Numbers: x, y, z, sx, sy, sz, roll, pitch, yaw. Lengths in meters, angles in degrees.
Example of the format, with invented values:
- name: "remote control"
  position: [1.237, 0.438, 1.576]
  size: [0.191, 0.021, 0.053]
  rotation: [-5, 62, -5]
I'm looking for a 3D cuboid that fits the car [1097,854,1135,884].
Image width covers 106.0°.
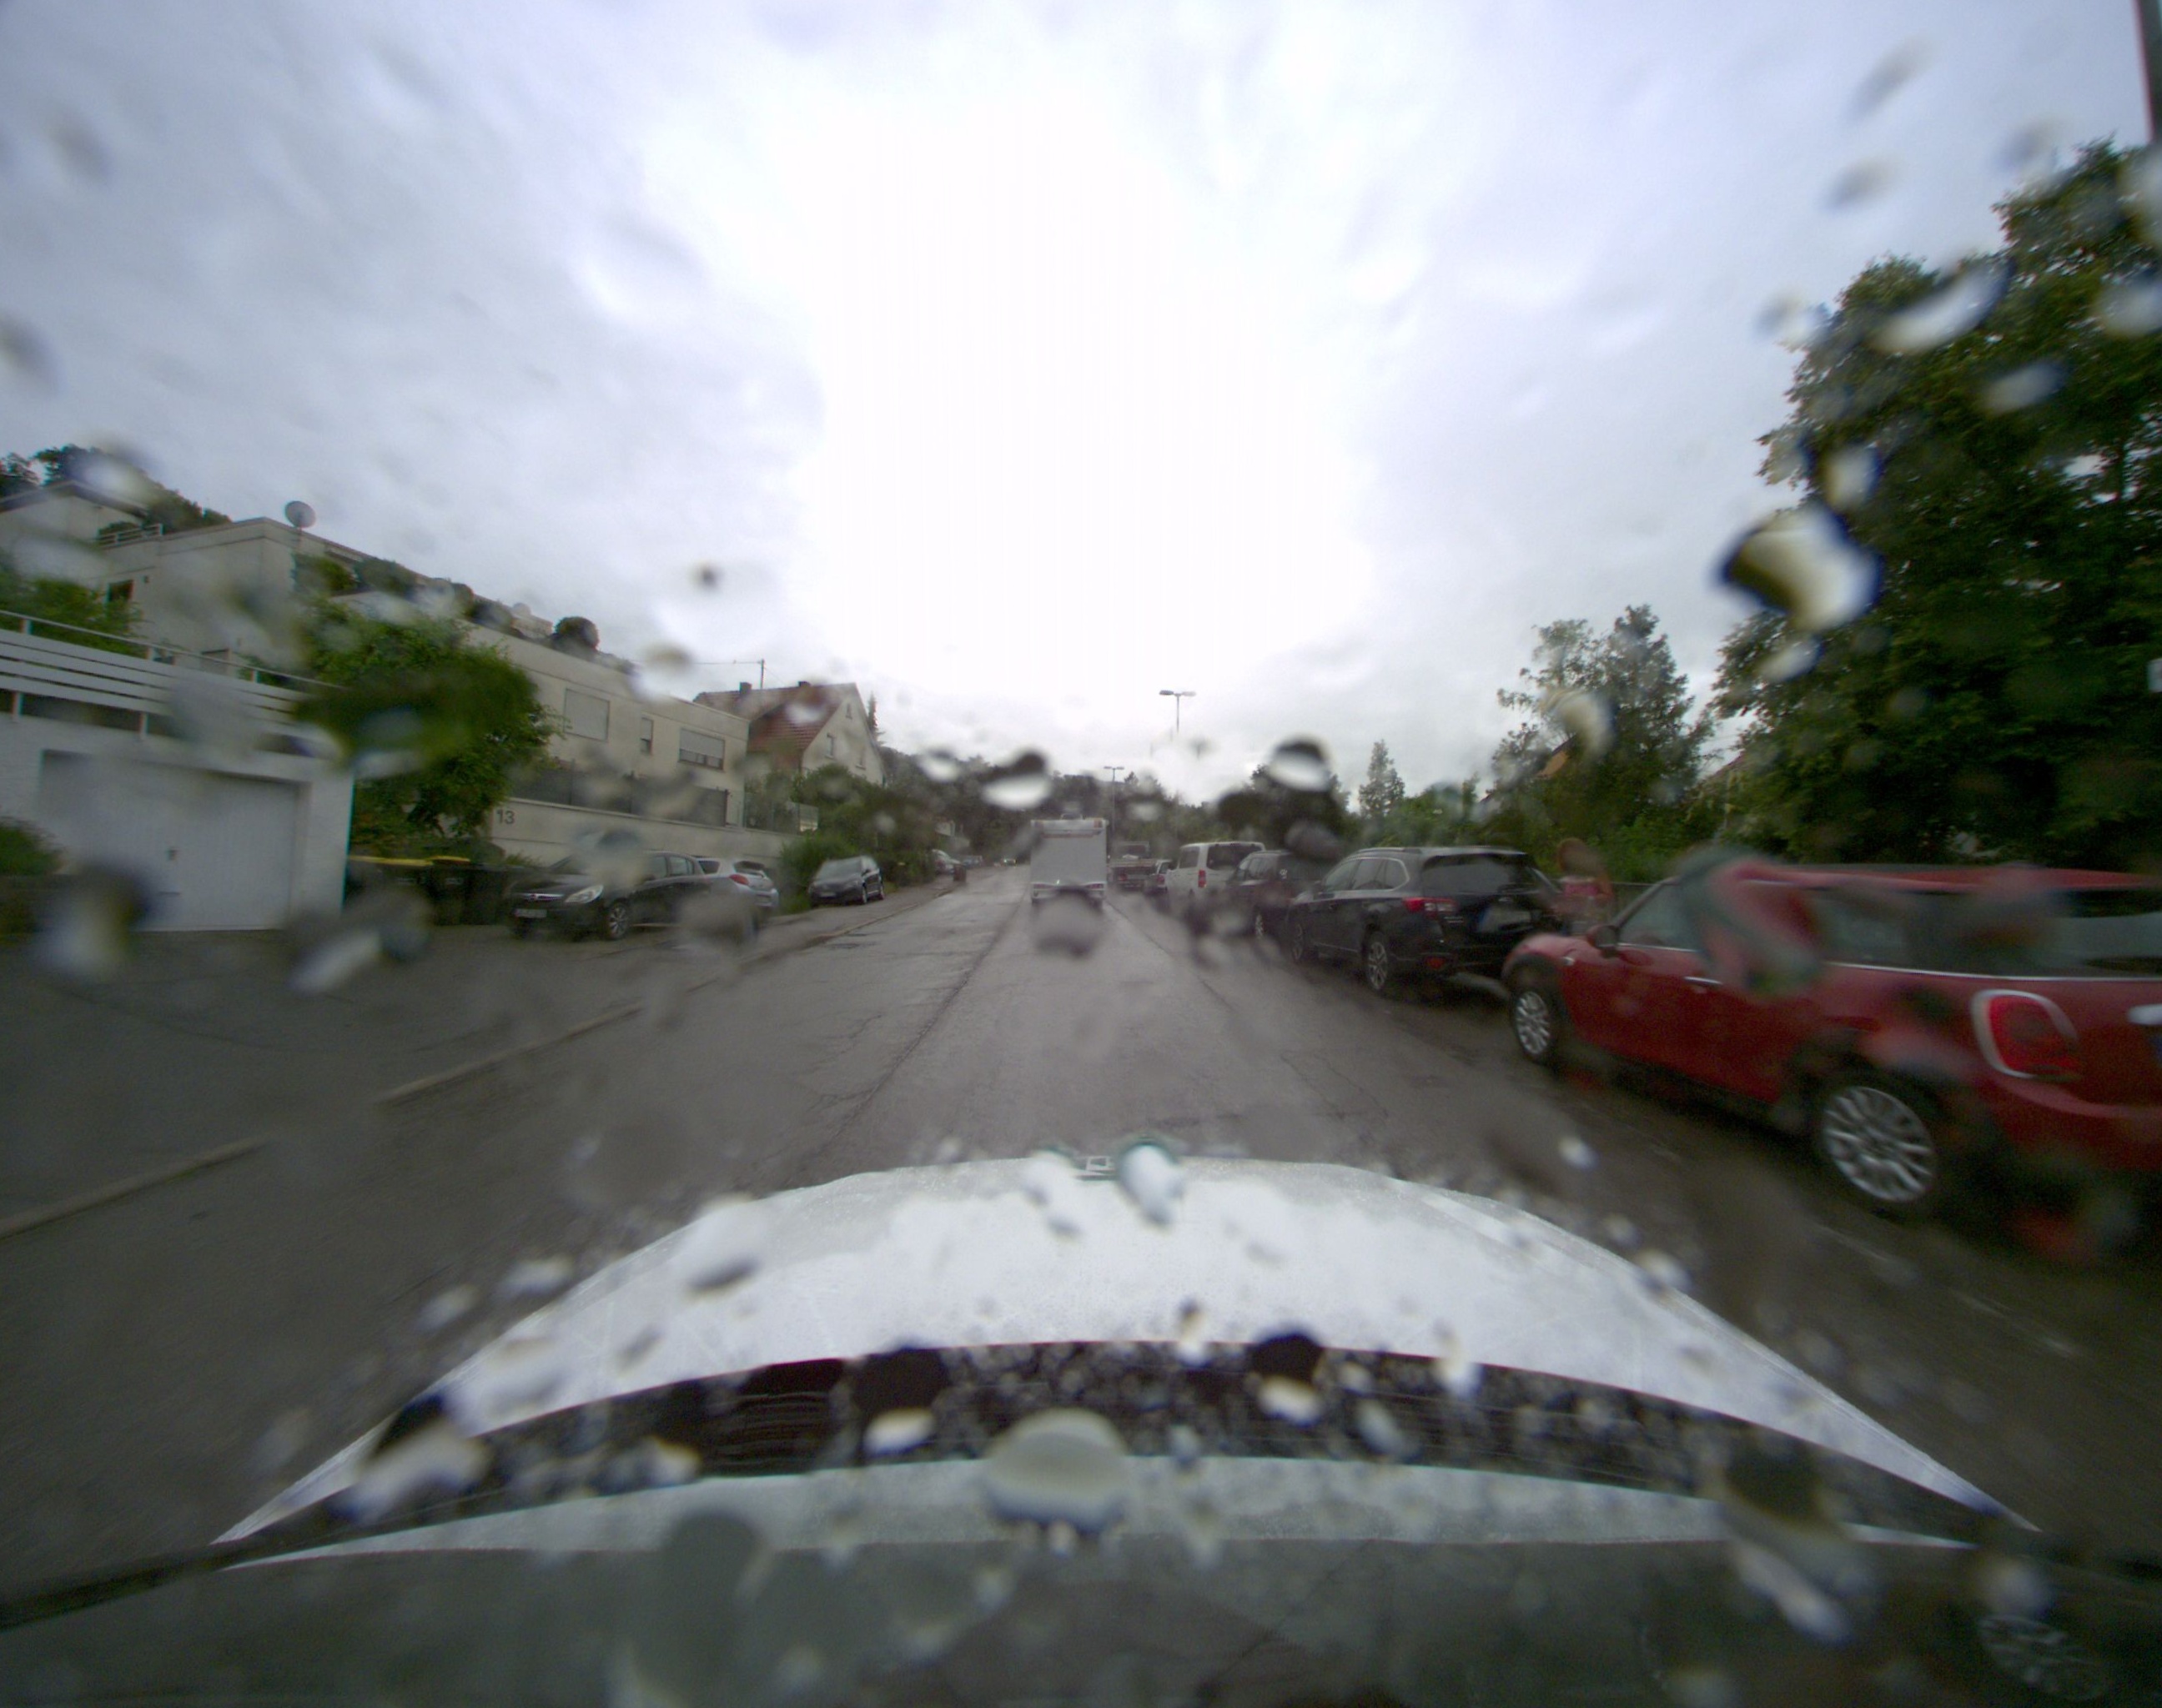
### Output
- name: "car"
  position: [1.963, 0.836, 46.890]
  size: [1.756, 1.604, 4.660]
  rotation: [-1, -1, -3]

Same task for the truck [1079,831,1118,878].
- name: "truck"
  position: [1.232, 0.073, 62.257]
  size: [2.430, 3.335, 7.956]
  rotation: [-1, -1, -3]

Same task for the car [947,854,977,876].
- name: "car"
  position: [-9.964, 0.907, 68.431]
  size: [1.683, 1.588, 4.196]
  rotation: [6, 0, 0]

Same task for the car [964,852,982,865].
- name: "car"
  position: [-12.285, 0.536, 92.784]
  size: [1.629, 1.396, 4.234]
  rotation: [4, -1, -3]

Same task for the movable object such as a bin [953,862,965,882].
- name: "movable object such as a bin"
  position: [-6.611, 0.977, 44.267]
  size: [0.602, 1.064, 0.637]
  rotation: [1, -1, -7]

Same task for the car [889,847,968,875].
- name: "car"
  position: [-10.853, 0.517, 58.105]
  size: [5.049, 1.944, 2.149]
  rotation: [-1, -1, 13]

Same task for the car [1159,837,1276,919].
- name: "car"
  position: [3.411, 0.588, 21.363]
  size: [1.846, 1.882, 4.901]
  rotation: [-1, -1, -5]

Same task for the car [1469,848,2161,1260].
- name: "car"
  position: [4.076, 0.708, 4.779]
  size: [1.730, 1.414, 3.850]
  rotation: [-1, -1, -1]

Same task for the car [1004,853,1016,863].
- name: "car"
  position: [-11.444, 0.588, 132.037]
  size: [1.903, 1.607, 4.421]
  rotation: [1, 0, -5]

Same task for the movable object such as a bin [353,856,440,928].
- name: "movable object such as a bin"
  position: [-10.456, 0.571, 12.452]
  size: [0.745, 1.057, 0.703]
  rotation: [-1, -1, 13]

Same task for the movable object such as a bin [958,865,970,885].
- name: "movable object such as a bin"
  position: [-6.423, 1.160, 44.860]
  size: [0.602, 1.064, 0.696]
  rotation: [1, -1, -7]

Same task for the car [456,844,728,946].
- name: "car"
  position: [-7.998, 0.620, 13.904]
  size: [1.758, 1.376, 4.252]
  rotation: [3, -1, 4]

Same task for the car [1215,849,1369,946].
- name: "car"
  position: [3.791, 0.736, 15.415]
  size: [1.640, 1.541, 4.350]
  rotation: [-1, -1, -2]

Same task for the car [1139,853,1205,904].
- name: "car"
  position: [2.923, 0.777, 26.984]
  size: [1.643, 1.563, 3.960]
  rotation: [-1, -1, -1]

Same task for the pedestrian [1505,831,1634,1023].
- name: "pedestrian"
  position: [4.370, 0.627, 7.334]
  size: [0.715, 1.635, 0.707]
  rotation: [-1, -1, -2]

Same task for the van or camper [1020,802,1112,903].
- name: "van or camper"
  position: [-0.540, 0.054, 26.459]
  size: [2.609, 2.853, 6.024]
  rotation: [1, -2, -2]

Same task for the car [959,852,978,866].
- name: "car"
  position: [-12.021, 0.507, 86.957]
  size: [1.604, 1.434, 3.954]
  rotation: [4, 0, -4]

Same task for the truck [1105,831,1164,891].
- name: "truck"
  position: [2.490, 0.343, 39.711]
  size: [2.233, 2.631, 6.533]
  rotation: [-1, -1, -2]

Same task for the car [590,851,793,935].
- name: "car"
  position: [-9.017, 0.893, 18.982]
  size: [3.802, 1.478, 1.809]
  rotation: [-7, -2, 11]

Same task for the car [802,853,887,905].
- name: "car"
  position: [-7.973, 0.822, 27.868]
  size: [1.799, 1.597, 4.412]
  rotation: [-1, -1, -3]

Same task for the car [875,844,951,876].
- name: "car"
  position: [-10.295, 0.367, 50.003]
  size: [4.030, 1.692, 1.899]
  rotation: [4, -1, 10]

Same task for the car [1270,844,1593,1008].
- name: "car"
  position: [3.851, 0.705, 10.020]
  size: [1.811, 1.506, 4.720]
  rotation: [-1, -1, -2]

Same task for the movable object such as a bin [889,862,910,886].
- name: "movable object such as a bin"
  position: [-8.311, 0.916, 37.313]
  size: [0.692, 1.083, 0.712]
  rotation: [-1, 0, 16]

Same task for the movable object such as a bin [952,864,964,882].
- name: "movable object such as a bin"
  position: [-6.565, 1.032, 43.446]
  size: [0.602, 0.928, 0.562]
  rotation: [1, -1, -7]
